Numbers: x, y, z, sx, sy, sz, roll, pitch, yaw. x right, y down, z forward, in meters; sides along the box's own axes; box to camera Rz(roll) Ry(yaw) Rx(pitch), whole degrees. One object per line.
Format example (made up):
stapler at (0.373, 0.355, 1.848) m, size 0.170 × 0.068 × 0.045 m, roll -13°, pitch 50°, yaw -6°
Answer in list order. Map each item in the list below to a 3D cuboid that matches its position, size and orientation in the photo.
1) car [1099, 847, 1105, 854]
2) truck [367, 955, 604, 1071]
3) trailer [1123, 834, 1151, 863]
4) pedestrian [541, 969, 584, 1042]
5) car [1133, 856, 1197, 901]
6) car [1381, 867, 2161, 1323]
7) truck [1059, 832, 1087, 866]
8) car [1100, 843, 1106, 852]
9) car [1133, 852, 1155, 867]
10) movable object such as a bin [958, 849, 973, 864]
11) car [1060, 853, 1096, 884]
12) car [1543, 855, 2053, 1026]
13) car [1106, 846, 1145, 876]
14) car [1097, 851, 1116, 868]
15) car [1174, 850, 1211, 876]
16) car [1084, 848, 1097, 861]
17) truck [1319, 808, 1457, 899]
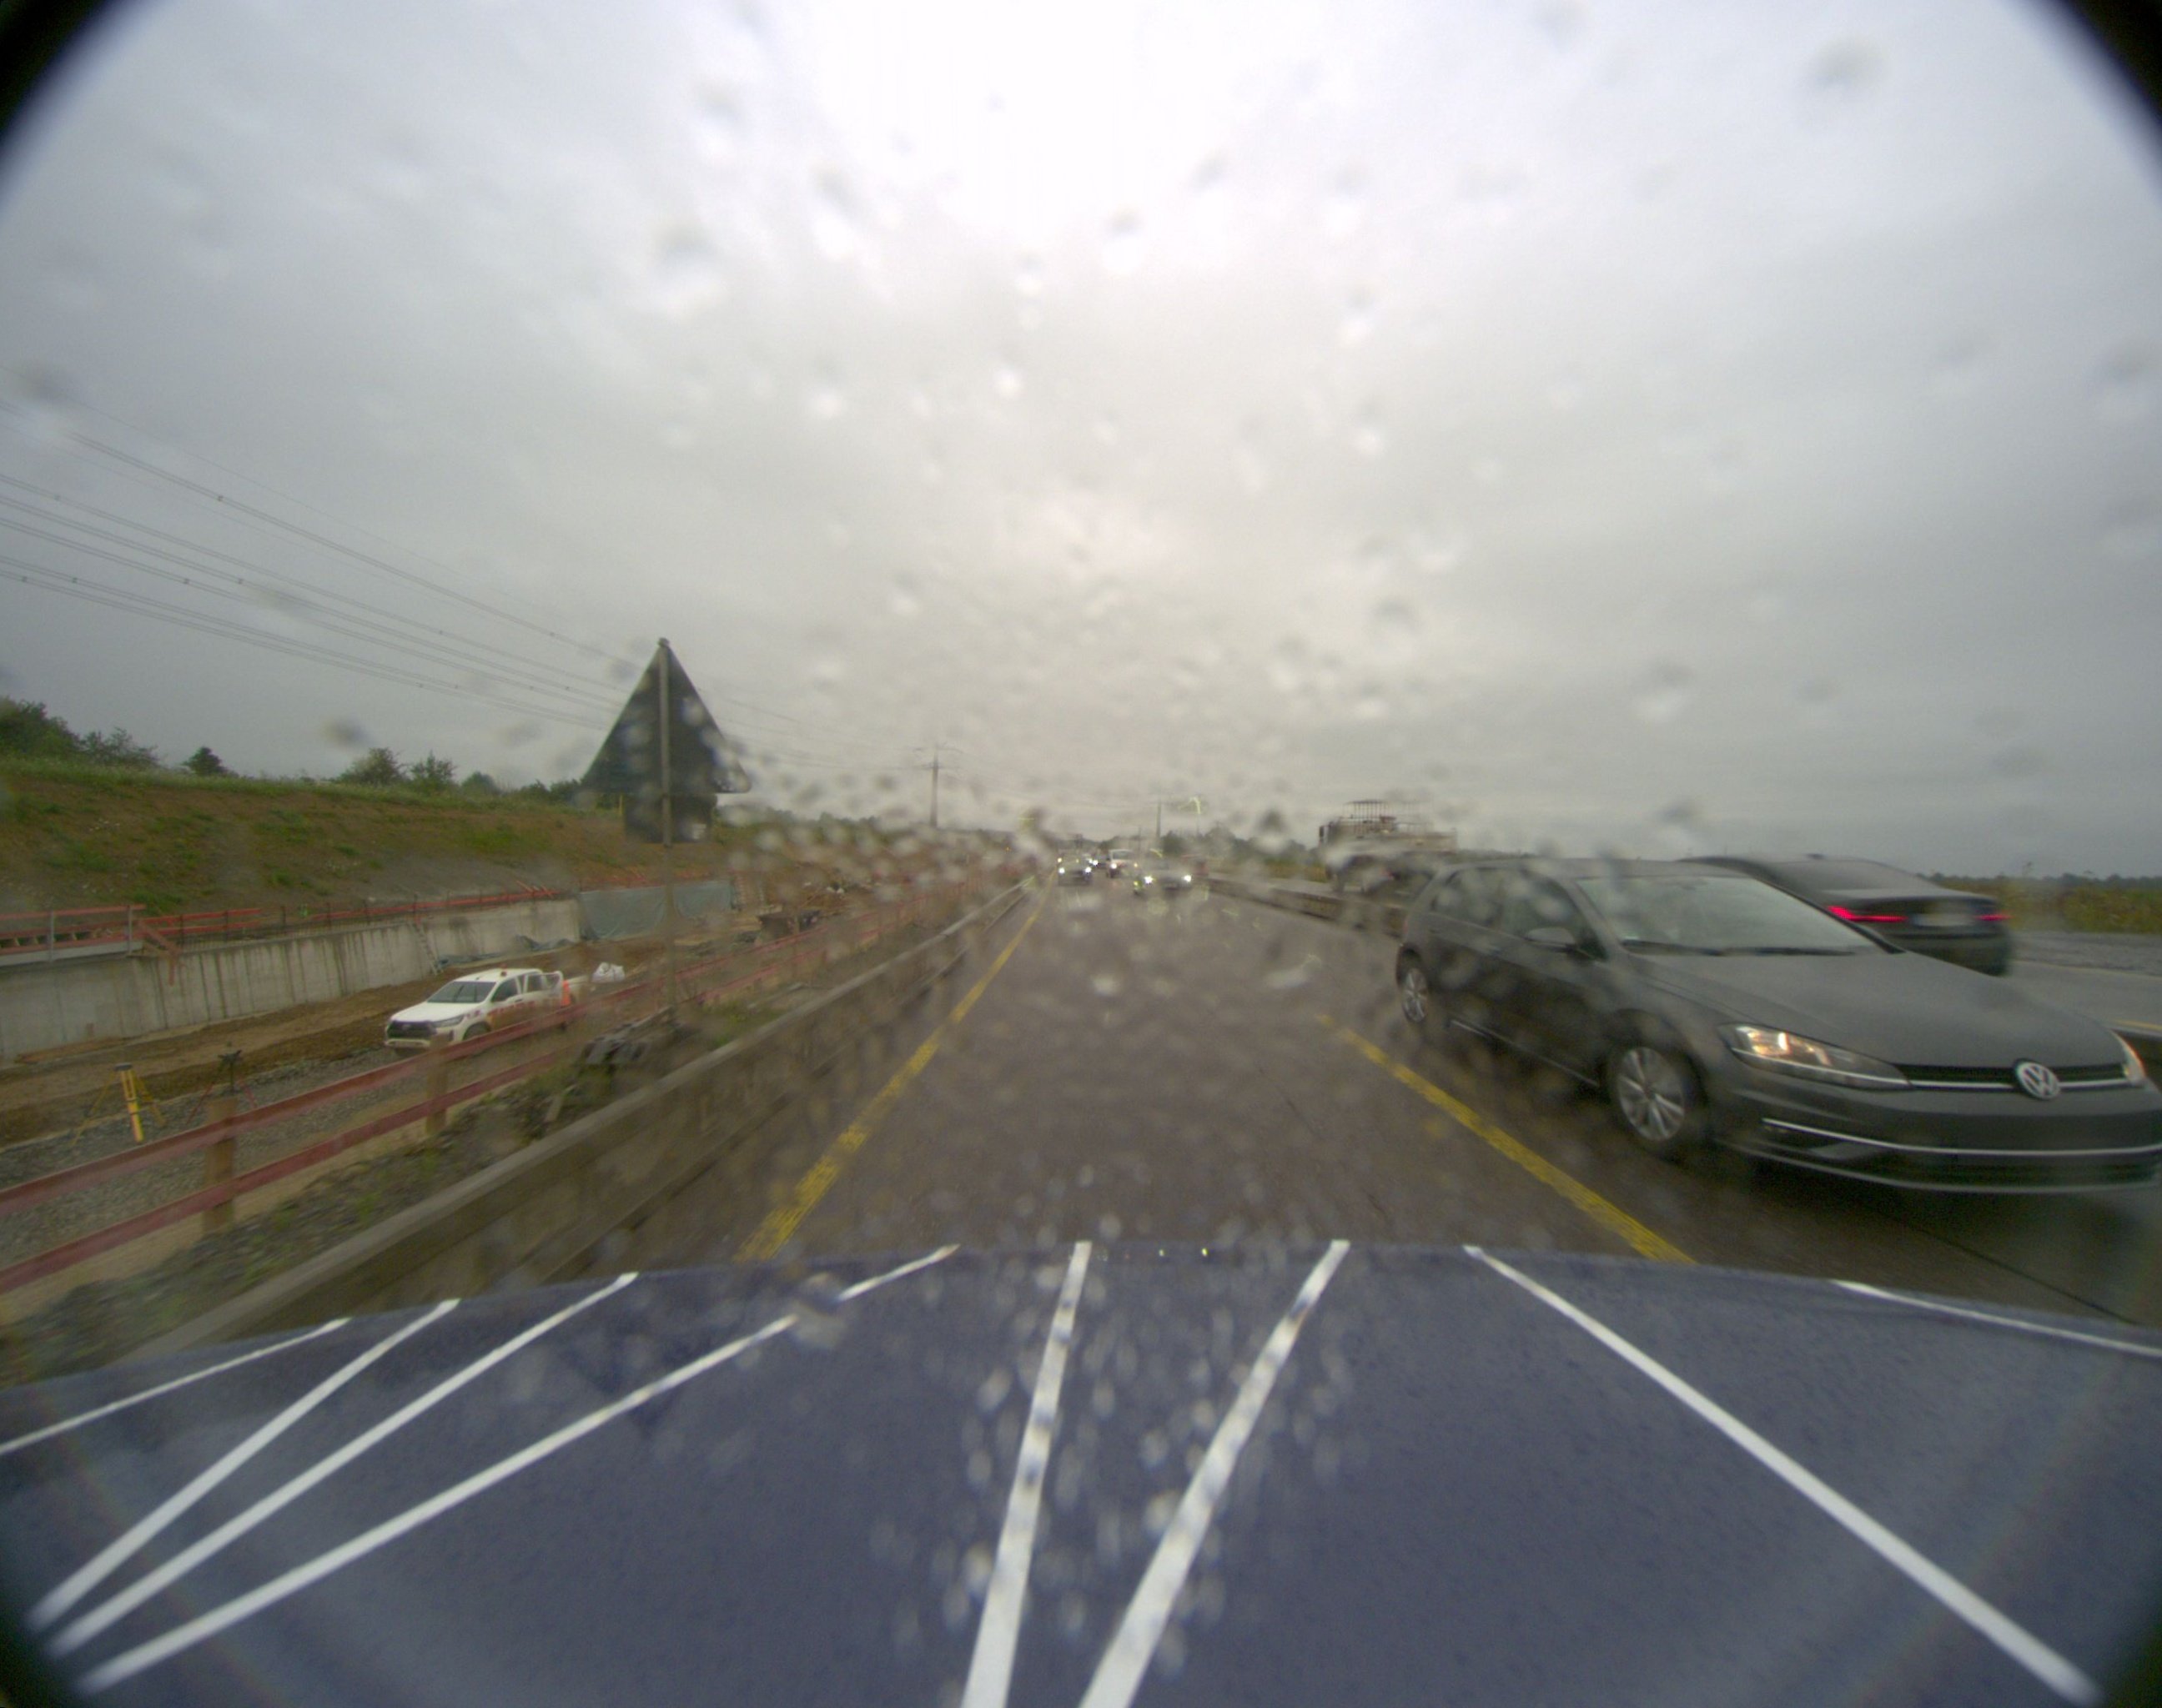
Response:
car at (6.094, -1.053, 220.208) m, size 1.730 × 1.749 × 4.089 m, roll -1°, pitch 1°, yaw -2°
truck at (-15.773, 4.114, 20.707) m, size 1.766 × 1.860 × 5.786 m, roll 0°, pitch 1°, yaw 2°
trailer at (8.231, -0.814, 113.681) m, size 2.794 × 4.176 × 13.671 m, roll -1°, pitch 0°, yaw -2°
pedestrian at (-14.403, 4.179, 21.135) m, size 0.811 × 1.789 × 0.934 m, roll -1°, pitch 2°, yaw -23°
car at (2.971, 0.819, 27.695) m, size 1.799 × 1.389 × 4.268 m, roll -2°, pitch 1°, yaw 0°
car at (3.491, 0.874, 4.675) m, size 1.654 × 1.414 × 4.079 m, roll -1°, pitch 1°, yaw 0°
truck at (-0.835, -0.643, 87.322) m, size 2.837 × 3.617 × 9.119 m, roll -2°, pitch 1°, yaw 1°
car at (6.824, -2.111, 234.148) m, size 1.730 × 2.707 × 4.090 m, roll 0°, pitch 1°, yaw 0°
car at (6.307, 0.530, 76.340) m, size 1.830 × 1.434 × 4.696 m, roll -1°, pitch 1°, yaw 0°
movable object such as a bin at (-22.192, 0.459, 146.160) m, size 2.252 × 2.703 × 3.999 m, roll -2°, pitch 1°, yaw -2°
car at (-0.152, 0.737, 41.137) m, size 1.799 × 1.524 × 4.307 m, roll -2°, pitch 0°, yaw 0°
car at (7.926, 0.782, 9.245) m, size 1.751 × 1.486 × 4.749 m, roll -1°, pitch 0°, yaw 1°
car at (2.946, 0.392, 51.447) m, size 2.161 × 1.848 × 5.178 m, roll -2°, pitch 1°, yaw -1°
car at (2.508, 0.529, 75.006) m, size 1.799 × 1.521 × 4.067 m, roll -2°, pitch 1°, yaw 2°
car at (6.623, 0.517, 45.266) m, size 1.642 × 1.388 × 3.591 m, roll -2°, pitch 1°, yaw 0°
car at (1.365, 0.018, 110.985) m, size 1.800 × 1.850 × 4.285 m, roll -2°, pitch 1°, yaw -1°
truck at (10.812, -0.025, 27.482) m, size 2.364 × 2.877 × 6.548 m, roll 1°, pitch 0°, yaw 1°
